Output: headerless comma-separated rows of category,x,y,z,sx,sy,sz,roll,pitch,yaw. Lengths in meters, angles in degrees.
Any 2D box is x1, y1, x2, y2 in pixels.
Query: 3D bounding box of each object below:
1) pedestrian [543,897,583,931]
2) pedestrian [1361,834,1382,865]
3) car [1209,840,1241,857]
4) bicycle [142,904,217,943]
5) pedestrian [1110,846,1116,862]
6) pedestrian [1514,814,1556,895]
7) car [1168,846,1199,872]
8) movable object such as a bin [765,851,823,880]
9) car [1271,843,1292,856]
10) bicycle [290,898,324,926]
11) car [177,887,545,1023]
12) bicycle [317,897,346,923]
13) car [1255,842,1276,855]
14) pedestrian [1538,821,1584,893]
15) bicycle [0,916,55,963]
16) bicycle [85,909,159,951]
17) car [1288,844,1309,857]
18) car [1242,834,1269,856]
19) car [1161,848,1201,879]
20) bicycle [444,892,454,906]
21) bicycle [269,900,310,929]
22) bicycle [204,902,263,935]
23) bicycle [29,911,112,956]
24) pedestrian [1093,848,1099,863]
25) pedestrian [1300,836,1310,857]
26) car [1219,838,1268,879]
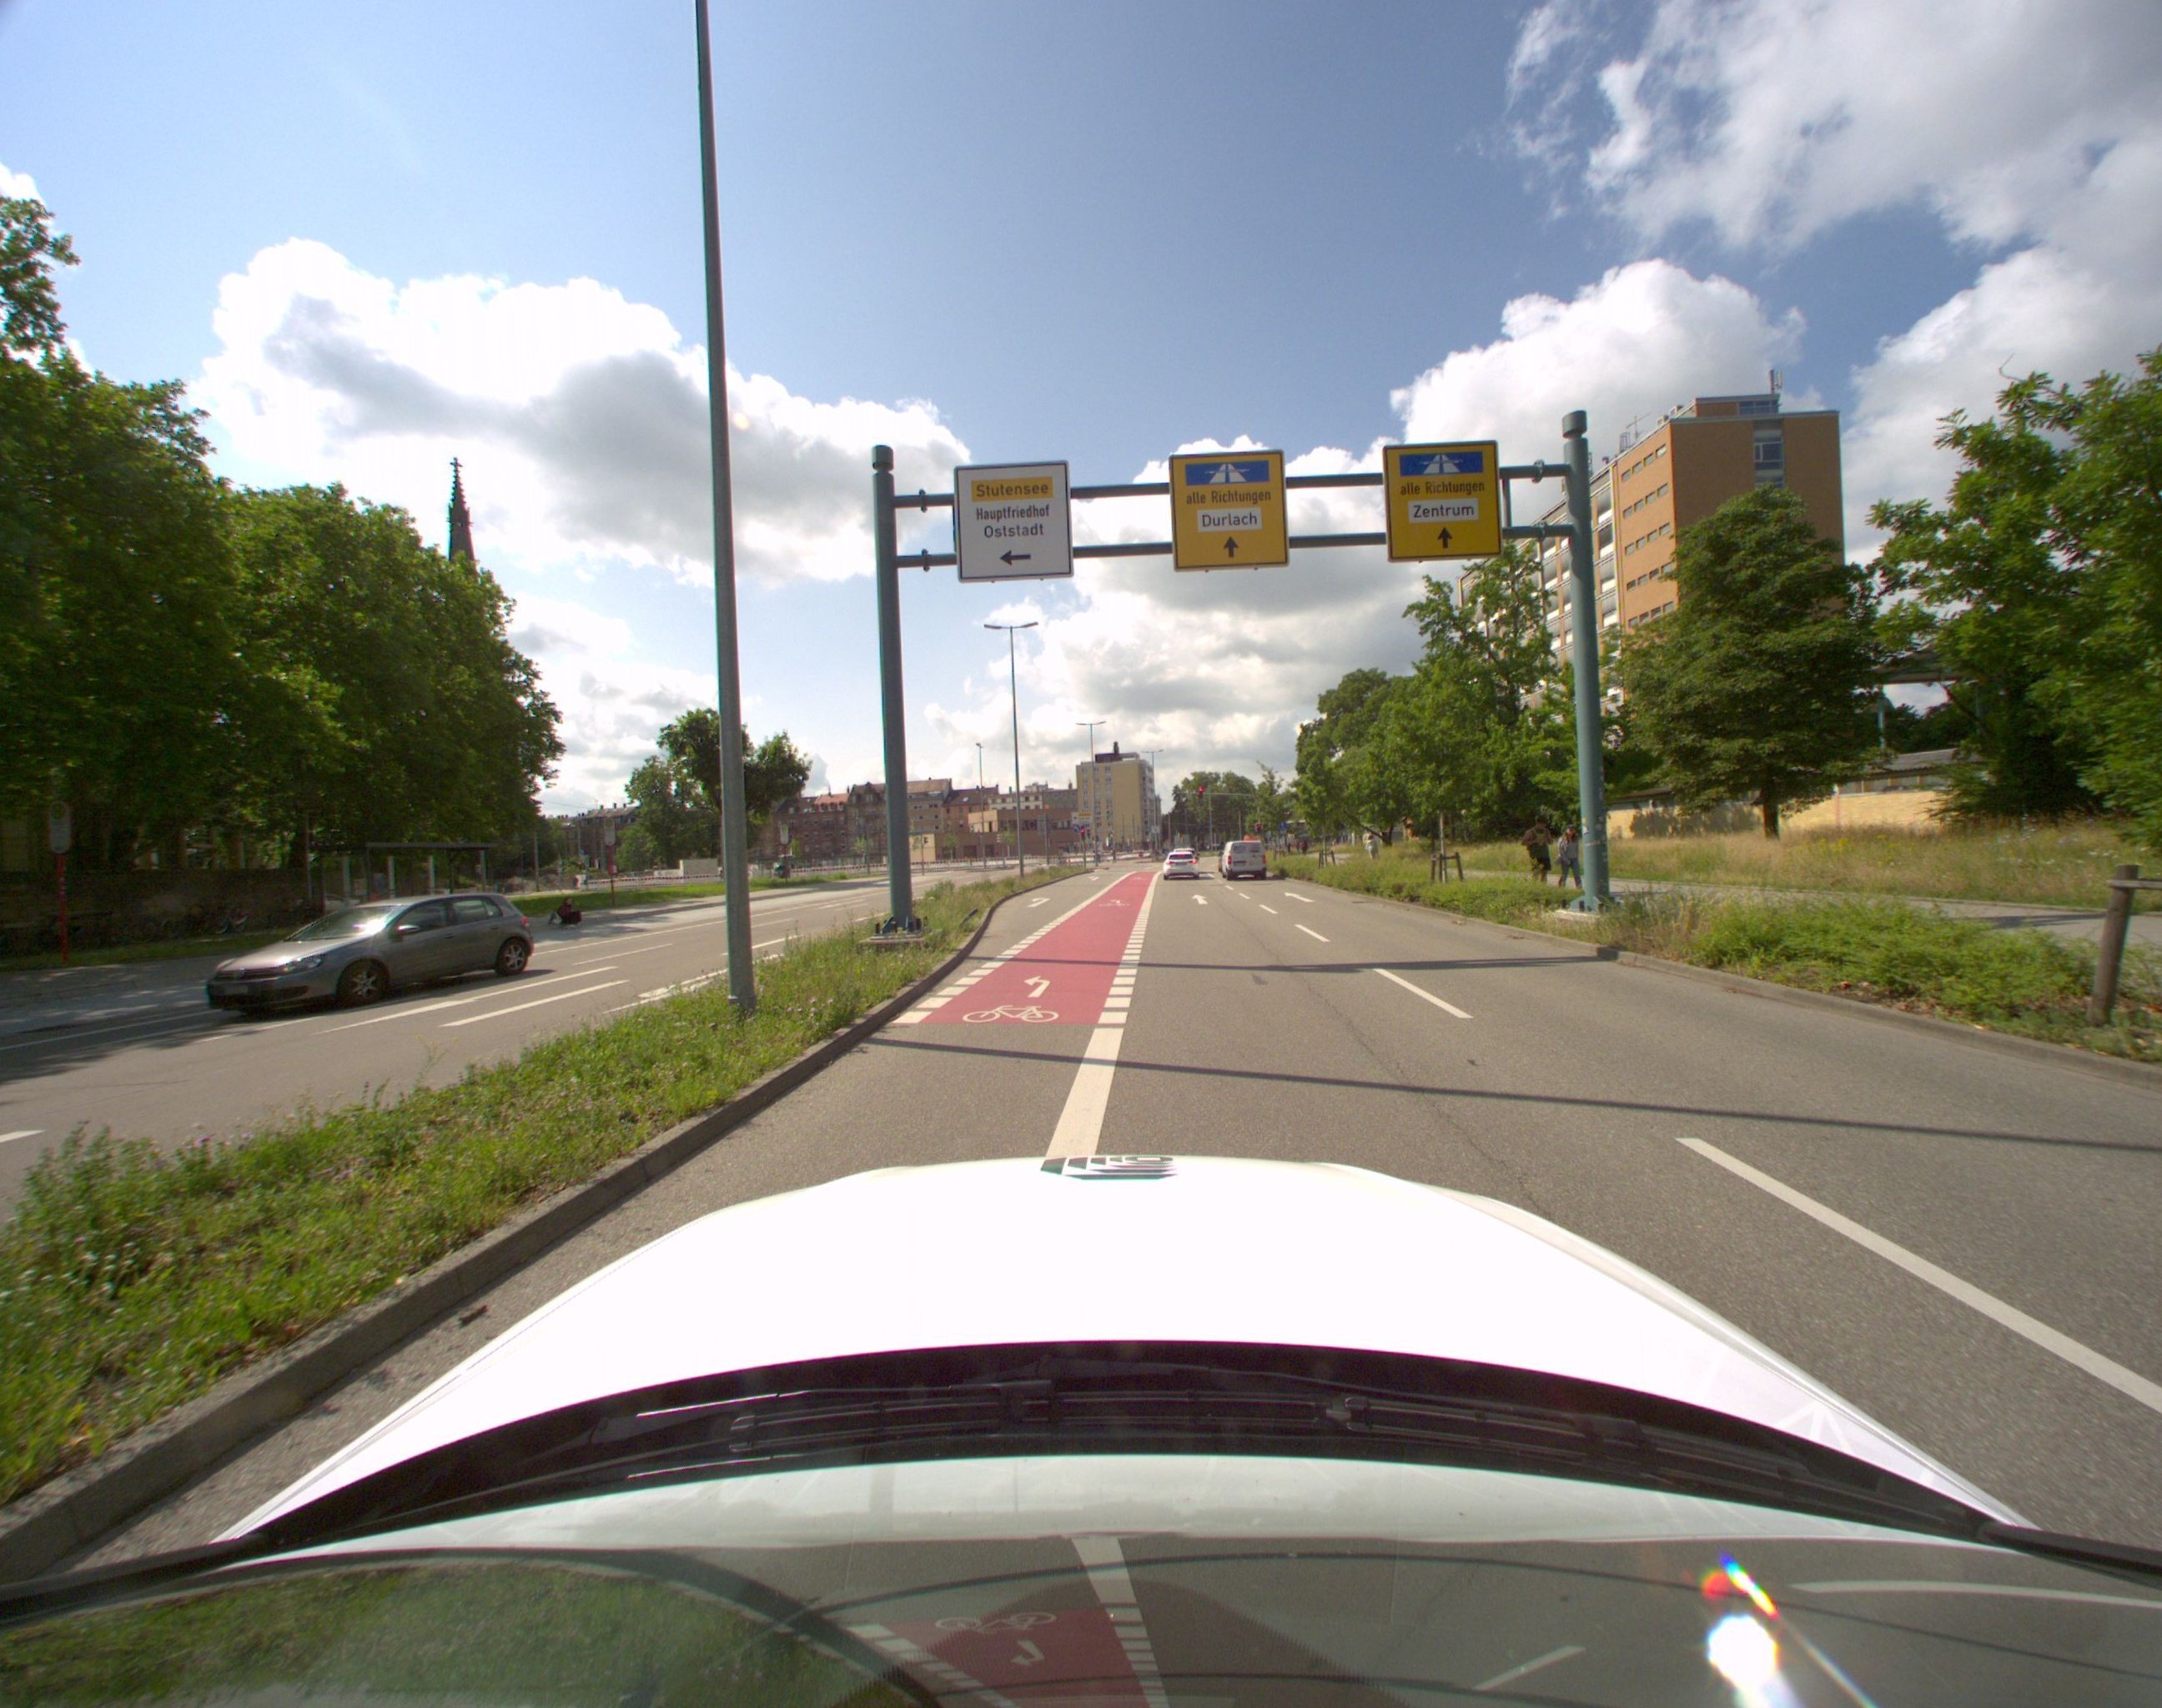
pedestrian,-16.133,1.856,25.379,0.691,0.963,0.744,-2,0,4
pedestrian,15.774,-0.238,44.219,0.863,1.638,0.722,-3,0,7
car,15.845,-0.590,89.408,1.974,1.816,4.025,0,0,34
bicycle,-28.987,2.218,26.230,0.582,1.073,1.862,-3,0,-12
pedestrian,3.674,0.019,92.980,0.521,1.733,0.626,-3,0,15
pedestrian,10.352,0.007,18.592,0.564,1.801,0.640,-3,0,5
car,6.424,0.296,51.262,1.781,1.539,4.018,-1,0,6
movable object such as a bin,-31.821,1.243,90.475,5.572,2.884,2.260,-3,-1,-41
car,33.019,-0.729,134.106,1.972,1.938,4.668,-3,0,30
bicycle,-31.791,2.373,33.458,0.391,1.011,1.363,-3,0,-15
car,-10.669,1.392,12.581,1.692,1.445,4.151,-4,0,5
bicycle,-32.475,2.429,35.299,0.353,1.011,1.248,-3,0,-15
car,28.941,-0.928,127.731,1.974,1.826,4.026,-3,0,31
pedestrian,11.044,0.064,18.742,0.620,1.581,0.709,-3,0,5
bicycle,-27.327,2.191,20.755,0.583,1.073,1.622,-3,0,-16
bicycle,-28.402,2.227,24.156,0.583,1.073,1.622,-3,0,-16
car,35.169,-0.599,131.556,1.972,1.938,4.668,-3,0,30
car,23.370,-1.281,109.052,2.109,2.780,4.668,-3,0,30
car,5.227,0.464,42.770,1.894,1.424,4.393,-3,0,7
bicycle,-45.387,3.206,58.511,0.396,0.992,1.504,-2,-1,-43
bicycle,-31.104,2.351,32.006,0.471,1.011,1.448,-3,0,-15
bicycle,-29.946,2.270,28.818,0.471,1.011,1.954,-3,0,-15
bicycle,-27.866,2.167,22.488,0.583,1.073,1.622,-3,0,-16
pedestrian,1.774,0.129,94.473,0.521,1.733,0.626,-3,0,15
pedestrian,18.866,-0.636,68.599,0.738,1.735,0.680,-3,0,9
car,8.007,0.182,40.494,1.932,1.870,4.834,-3,0,7
